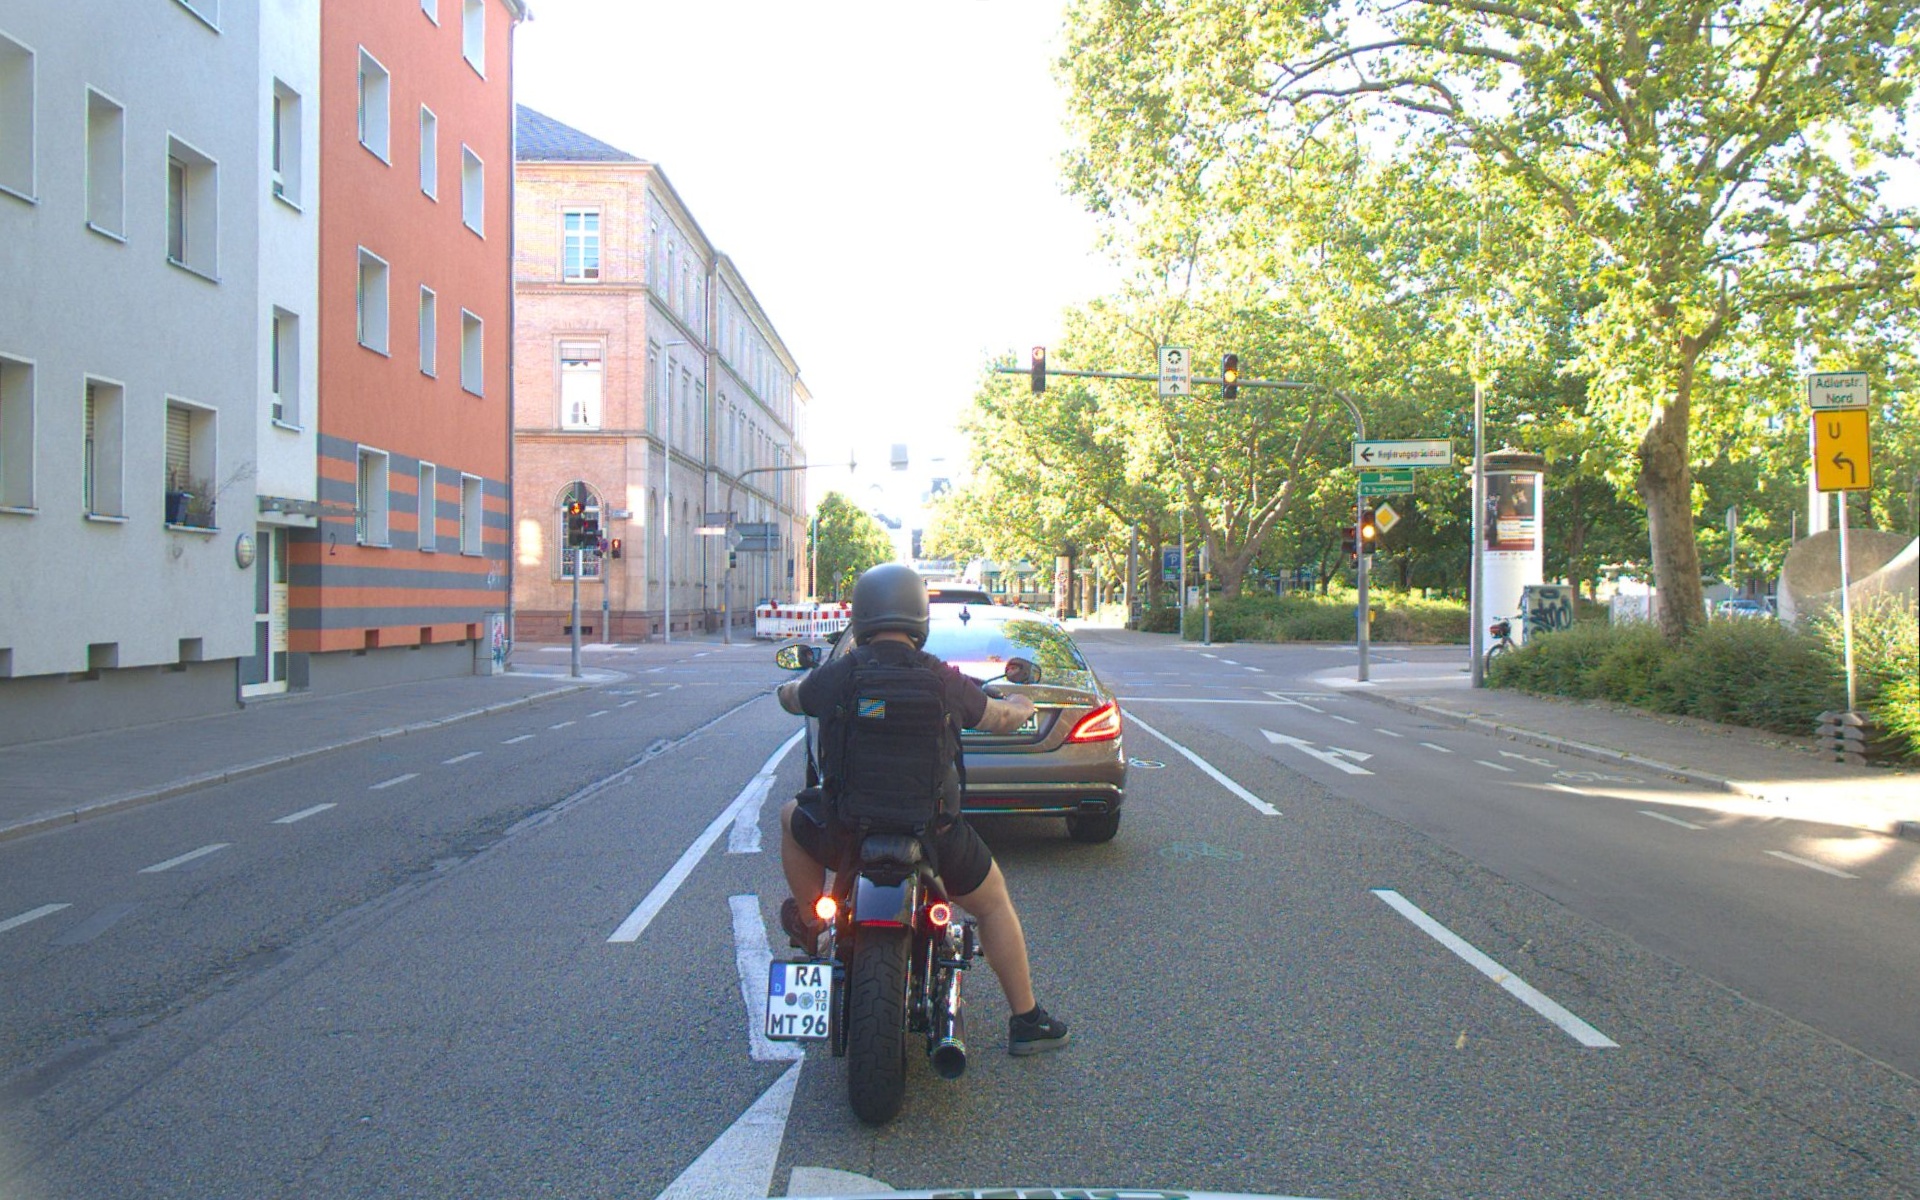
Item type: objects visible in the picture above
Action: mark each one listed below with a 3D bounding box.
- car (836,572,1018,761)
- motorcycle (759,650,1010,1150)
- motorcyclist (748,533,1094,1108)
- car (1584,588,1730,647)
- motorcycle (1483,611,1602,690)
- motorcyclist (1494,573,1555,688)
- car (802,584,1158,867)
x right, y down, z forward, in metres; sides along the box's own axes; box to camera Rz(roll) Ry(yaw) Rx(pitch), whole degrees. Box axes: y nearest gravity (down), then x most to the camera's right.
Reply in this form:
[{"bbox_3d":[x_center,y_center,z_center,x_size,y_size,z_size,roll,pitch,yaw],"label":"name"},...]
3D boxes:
[{"bbox_3d":[-0.326,0.608,16.962,1.618,1.681,3.999,1,0,-1],"label":"car"},{"bbox_3d":[-0.214,0.825,5.409,0.646,1.261,2.057,1,0,-1],"label":"motorcycle"},{"bbox_3d":[-0.118,0.637,5.319,0.970,1.639,1.120,1,0,-1],"label":"motorcyclist"},{"bbox_3d":[21.997,0.537,52.287,3.907,1.803,1.737,0,0,-3],"label":"car"},{"bbox_3d":[9.782,0.841,27.817,1.743,1.265,0.723,1,0,4],"label":"motorcycle"},{"bbox_3d":[9.490,0.509,27.827,0.805,1.896,0.672,1,-1,4],"label":"motorcyclist"},{"bbox_3d":[-0.080,0.692,11.119,1.790,1.512,4.326,1,0,-7],"label":"car"}]
